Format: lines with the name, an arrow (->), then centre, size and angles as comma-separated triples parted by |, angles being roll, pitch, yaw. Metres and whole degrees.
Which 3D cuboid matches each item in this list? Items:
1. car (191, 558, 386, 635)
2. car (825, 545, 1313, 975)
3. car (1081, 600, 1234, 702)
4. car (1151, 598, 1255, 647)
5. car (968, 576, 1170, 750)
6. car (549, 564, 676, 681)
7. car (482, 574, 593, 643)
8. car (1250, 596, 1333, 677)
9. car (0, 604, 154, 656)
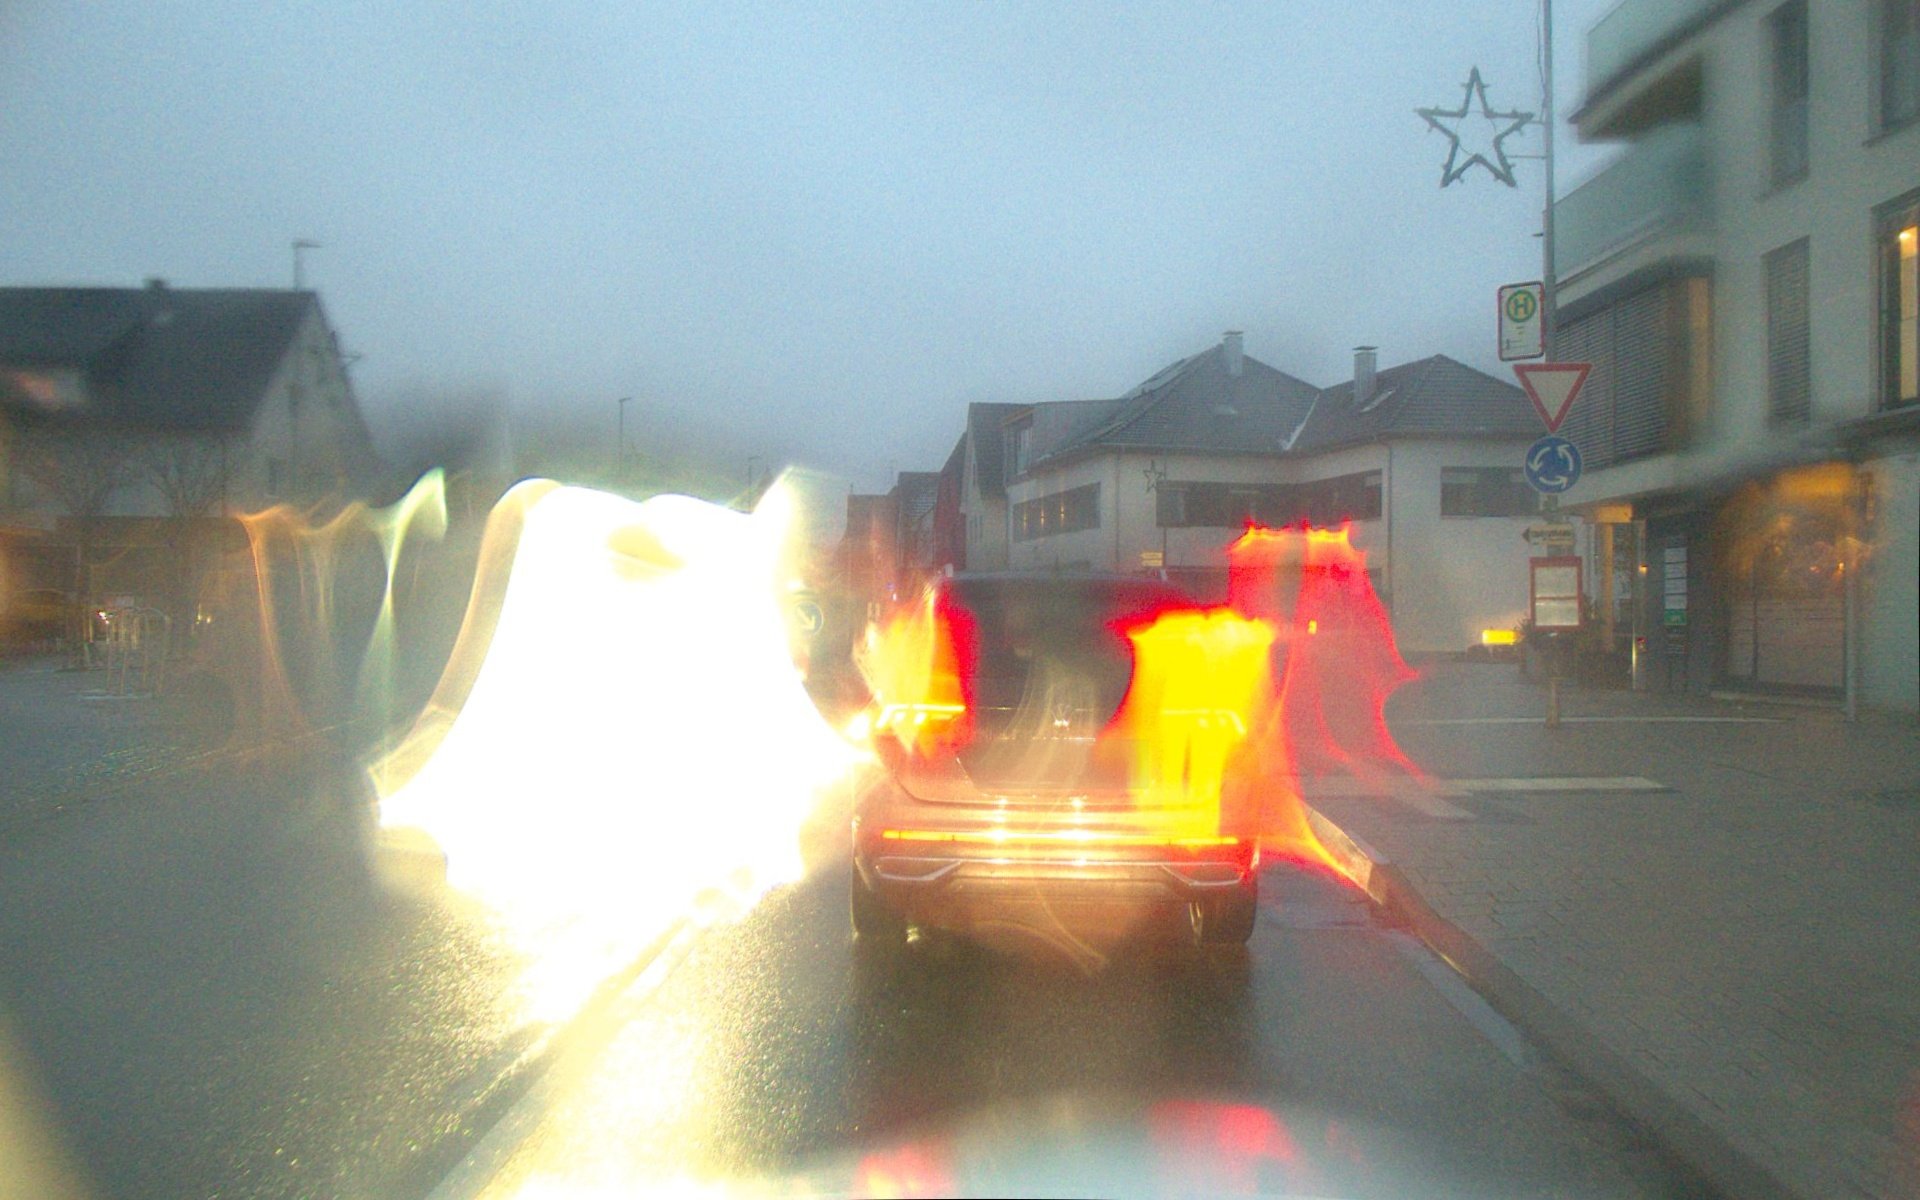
car -> -18.828, -0.091, 46.447 | 4.780, 2.049, 2.001 | 1, 0, 14
car -> 0.392, 0.617, 8.411 | 1.877, 1.643, 3.949 | 1, 0, -1
car -> 3.868, 0.928, 31.791 | 1.785, 1.656, 3.999 | -1, 2, 24
car -> 7.694, 0.686, 52.679 | 1.621, 1.491, 3.977 | 1, 0, -19
car -> 1.001, 0.561, 16.965 | 1.741, 1.566, 3.931 | 0, 0, -1
car -> -5.311, 0.304, 25.668 | 1.746, 1.650, 3.948 | 1, 0, -10
car -> -11.958, 0.224, 46.649 | 1.704, 1.844, 4.086 | 1, 0, -35
car -> 8.362, 0.871, 41.533 | 1.763, 1.894, 4.003 | -1, 0, 15
car -> -25.572, 0.876, 47.784 | 3.746, 1.447, 1.716 | 0, -2, 5
